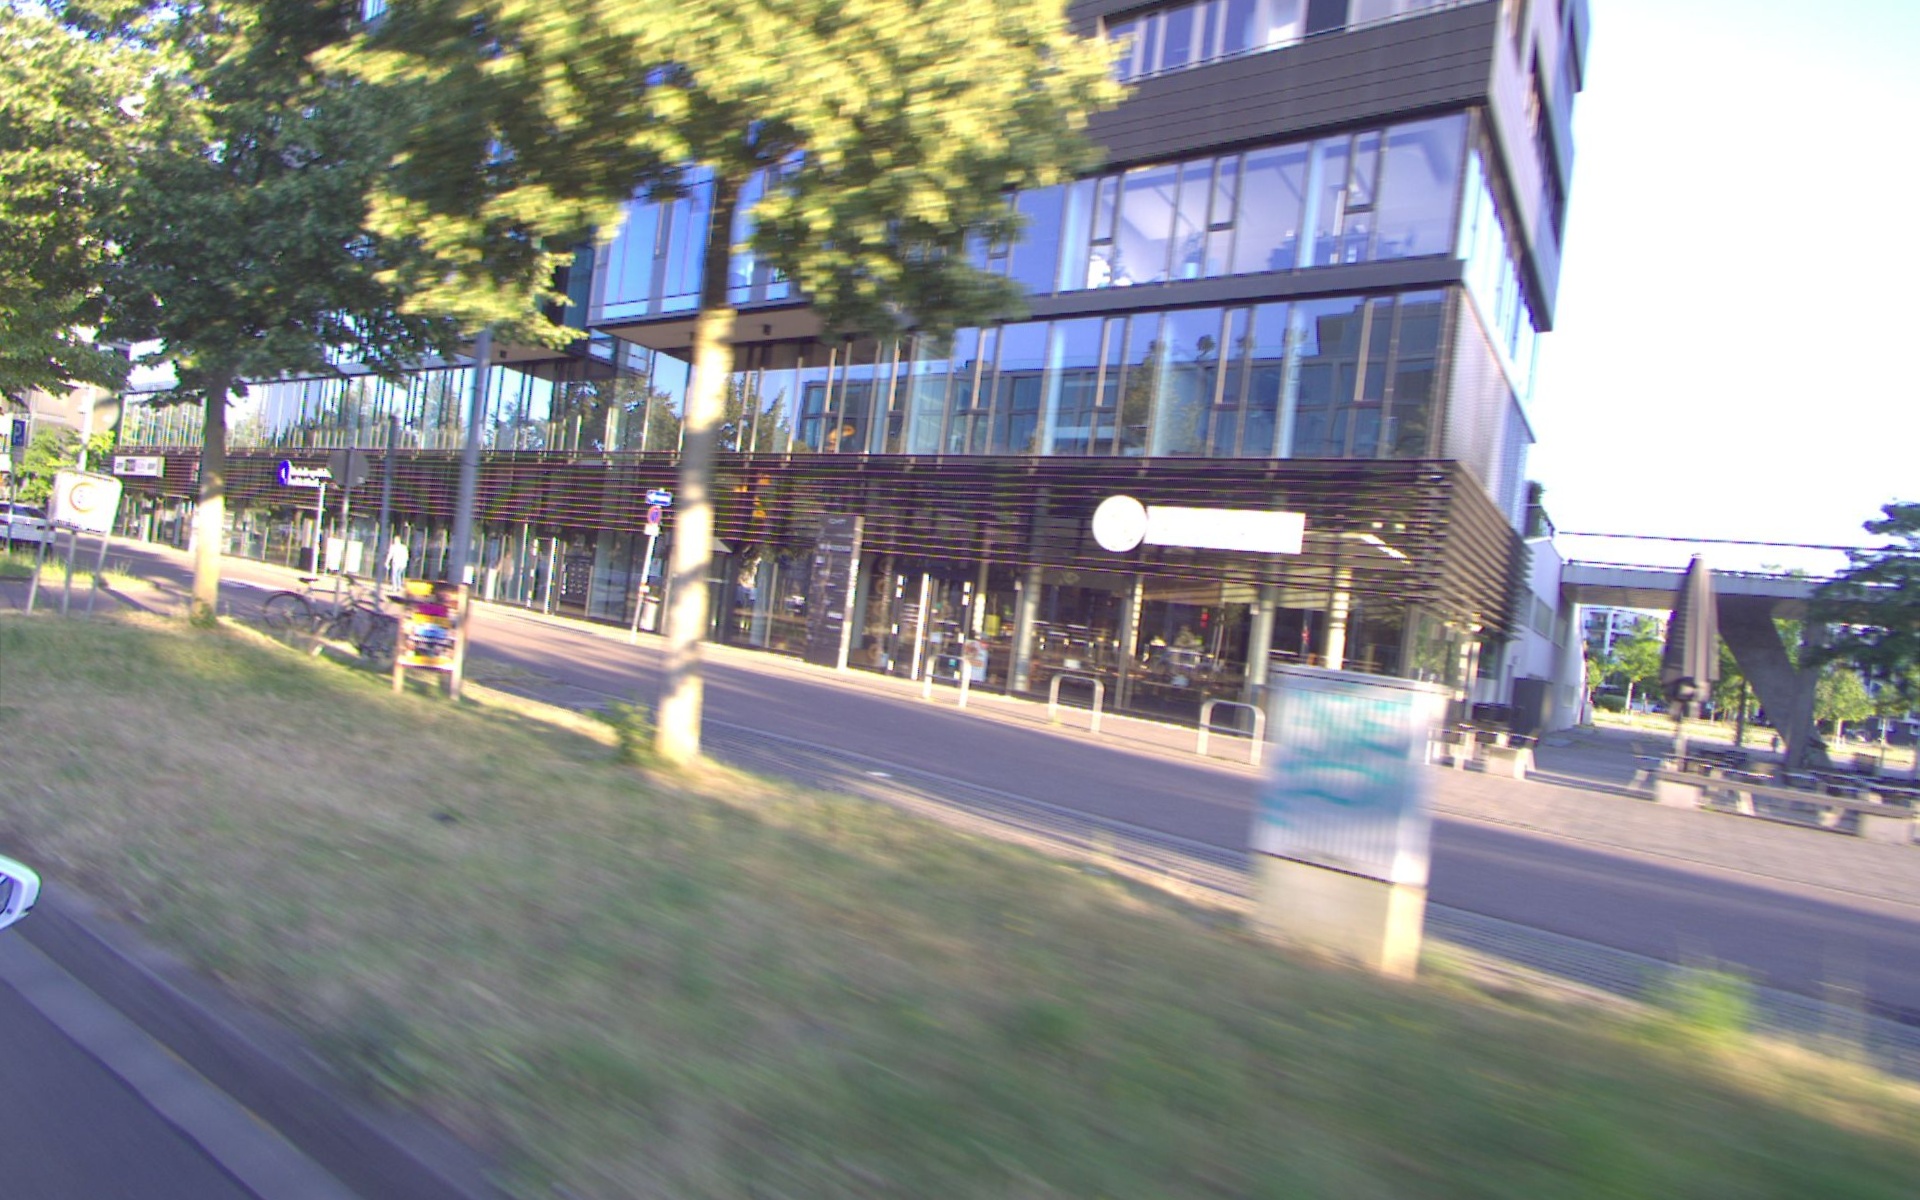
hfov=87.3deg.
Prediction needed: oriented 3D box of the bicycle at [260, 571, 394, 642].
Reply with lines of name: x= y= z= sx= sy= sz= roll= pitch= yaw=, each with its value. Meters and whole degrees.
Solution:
bicycle: x=-10.091 y=0.106 z=16.086 sx=1.700 sy=0.921 sz=0.360 roll=7 pitch=0 yaw=-22

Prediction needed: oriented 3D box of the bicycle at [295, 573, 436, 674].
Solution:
bicycle: x=-7.103 y=0.278 z=12.011 sx=1.657 sy=1.007 sz=0.580 roll=6 pitch=0 yaw=27

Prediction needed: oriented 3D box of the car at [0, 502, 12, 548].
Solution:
car: x=-34.223 y=-2.769 z=34.371 sx=4.224 sy=1.514 sz=1.860 roll=7 pitch=-1 yaw=36

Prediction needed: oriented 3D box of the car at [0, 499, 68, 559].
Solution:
car: x=-29.411 y=-2.294 z=30.760 sx=4.961 sy=1.514 sz=1.920 roll=6 pitch=-2 yaw=34

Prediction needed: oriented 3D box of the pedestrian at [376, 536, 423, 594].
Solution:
pedestrian: x=-18.742 y=-1.168 z=33.628 sx=0.898 sy=1.819 sz=0.897 roll=7 pitch=0 yaw=34
